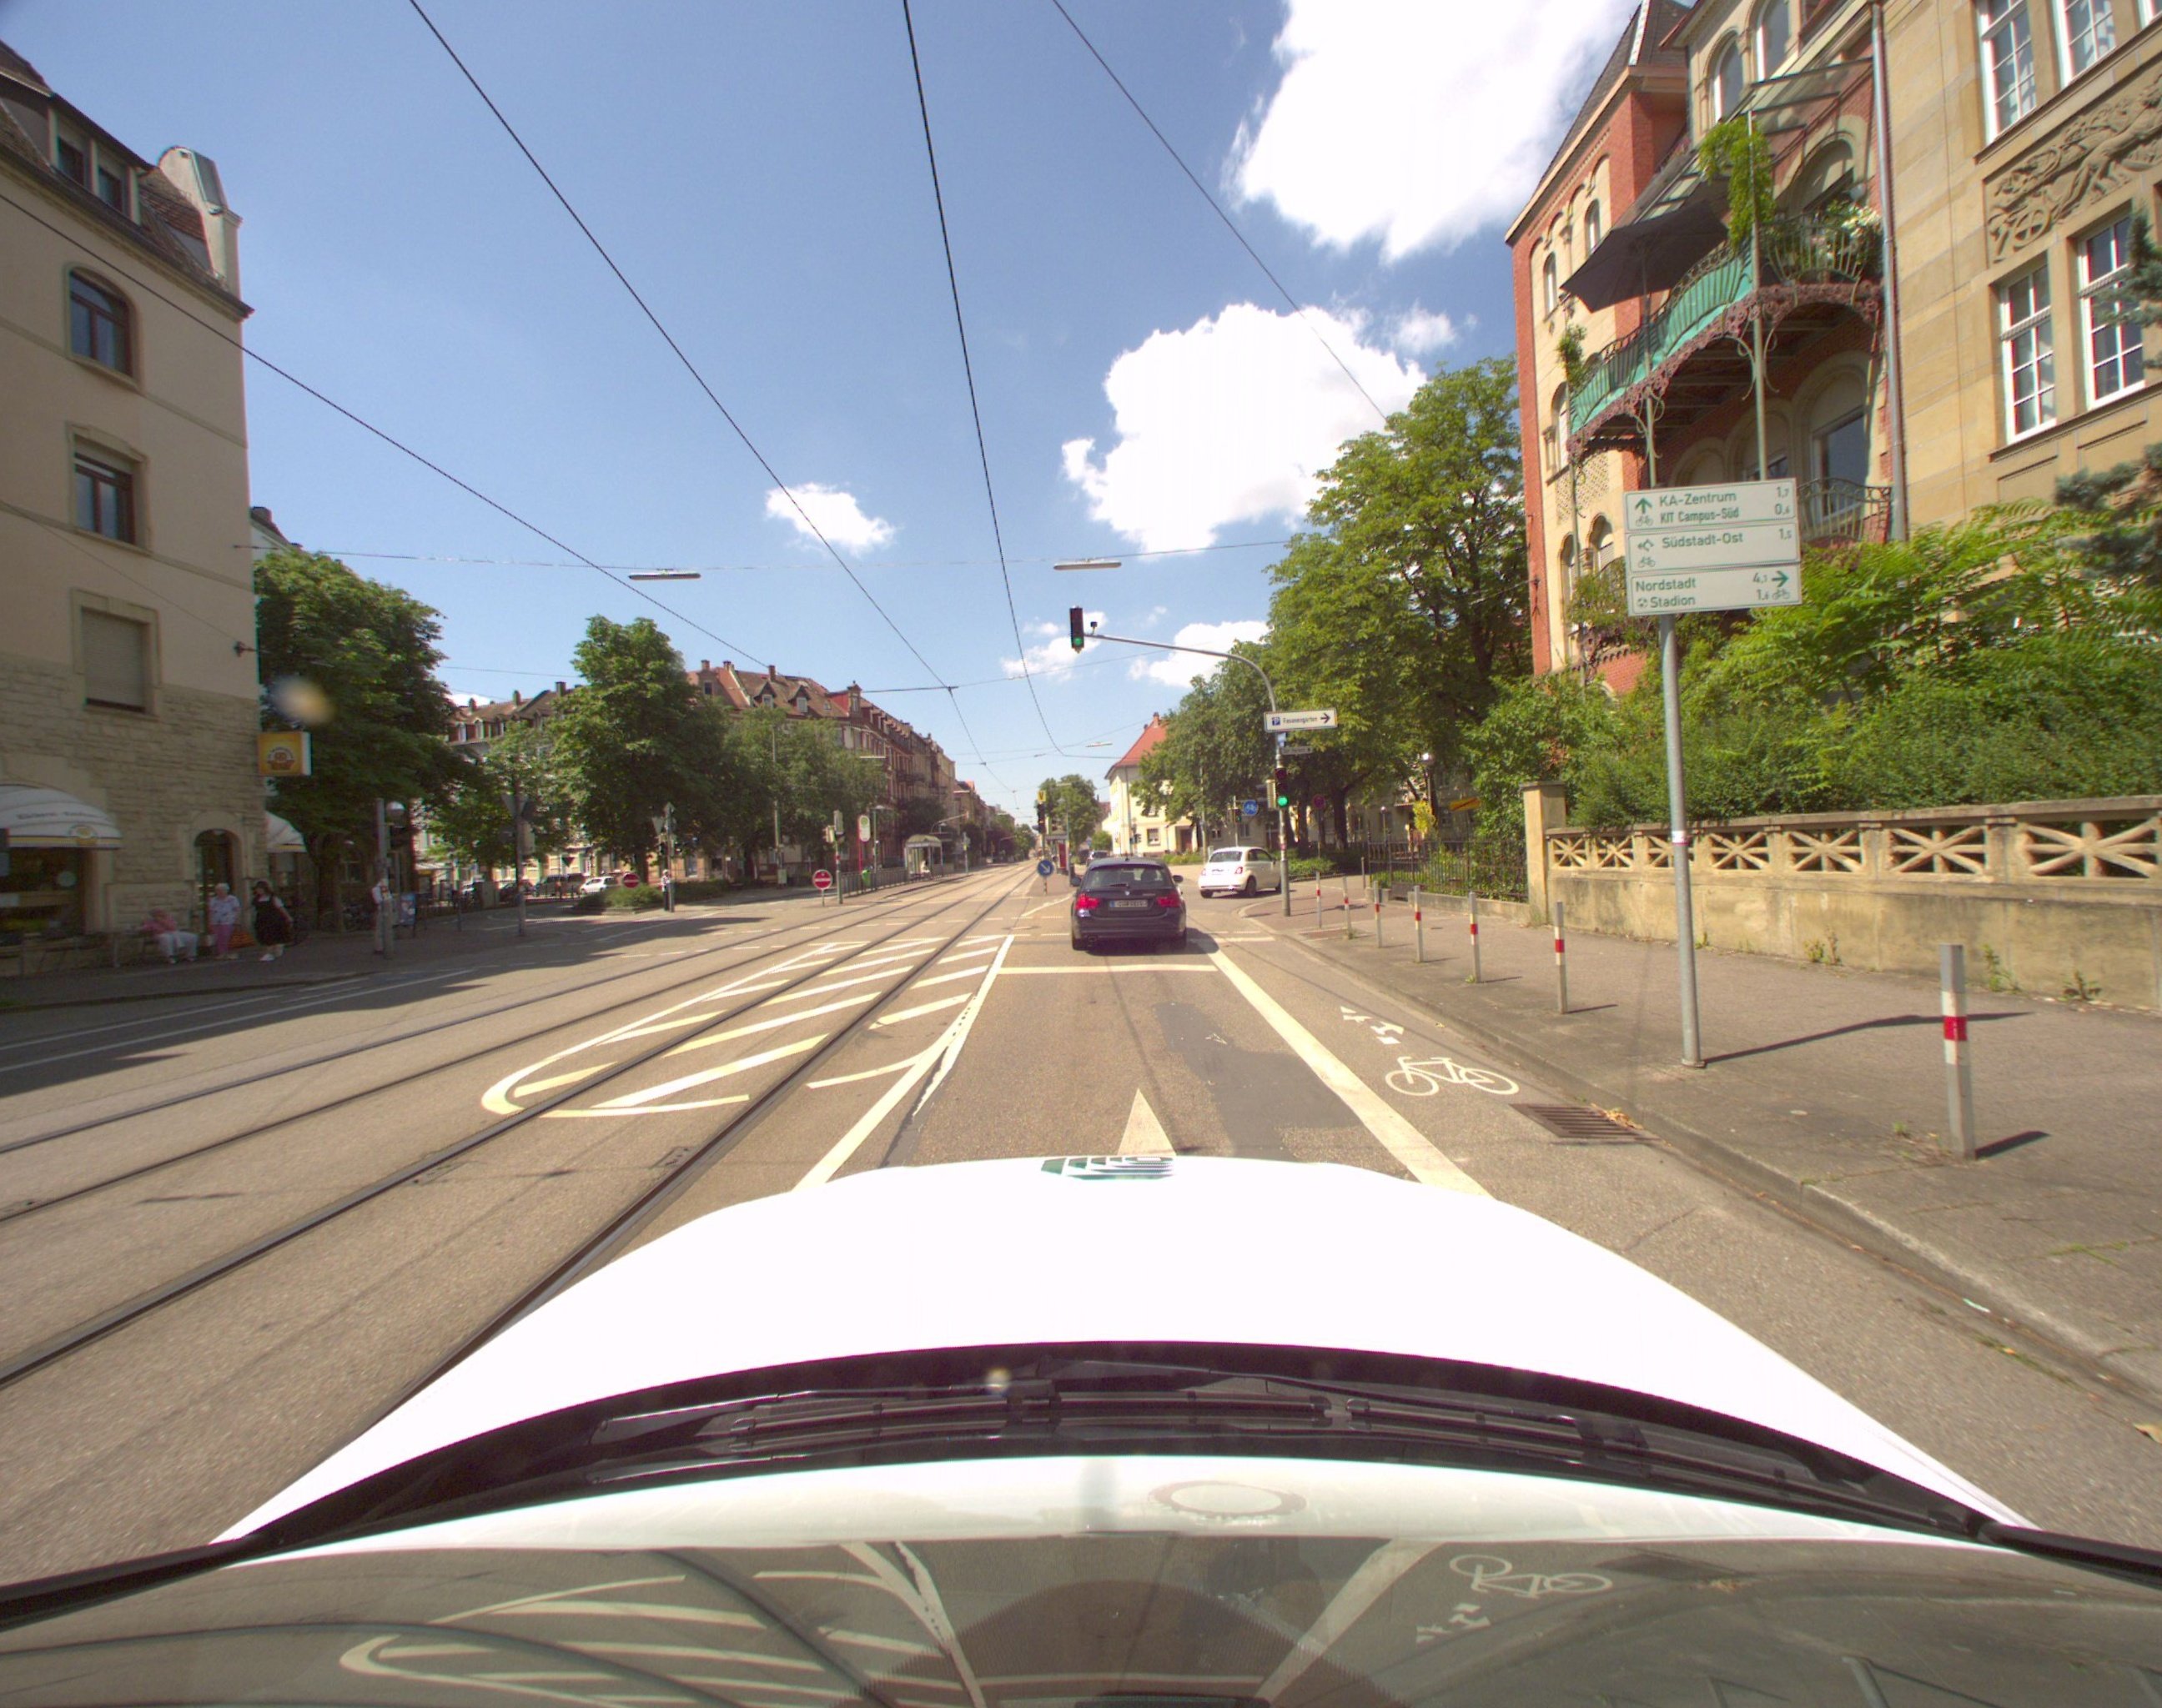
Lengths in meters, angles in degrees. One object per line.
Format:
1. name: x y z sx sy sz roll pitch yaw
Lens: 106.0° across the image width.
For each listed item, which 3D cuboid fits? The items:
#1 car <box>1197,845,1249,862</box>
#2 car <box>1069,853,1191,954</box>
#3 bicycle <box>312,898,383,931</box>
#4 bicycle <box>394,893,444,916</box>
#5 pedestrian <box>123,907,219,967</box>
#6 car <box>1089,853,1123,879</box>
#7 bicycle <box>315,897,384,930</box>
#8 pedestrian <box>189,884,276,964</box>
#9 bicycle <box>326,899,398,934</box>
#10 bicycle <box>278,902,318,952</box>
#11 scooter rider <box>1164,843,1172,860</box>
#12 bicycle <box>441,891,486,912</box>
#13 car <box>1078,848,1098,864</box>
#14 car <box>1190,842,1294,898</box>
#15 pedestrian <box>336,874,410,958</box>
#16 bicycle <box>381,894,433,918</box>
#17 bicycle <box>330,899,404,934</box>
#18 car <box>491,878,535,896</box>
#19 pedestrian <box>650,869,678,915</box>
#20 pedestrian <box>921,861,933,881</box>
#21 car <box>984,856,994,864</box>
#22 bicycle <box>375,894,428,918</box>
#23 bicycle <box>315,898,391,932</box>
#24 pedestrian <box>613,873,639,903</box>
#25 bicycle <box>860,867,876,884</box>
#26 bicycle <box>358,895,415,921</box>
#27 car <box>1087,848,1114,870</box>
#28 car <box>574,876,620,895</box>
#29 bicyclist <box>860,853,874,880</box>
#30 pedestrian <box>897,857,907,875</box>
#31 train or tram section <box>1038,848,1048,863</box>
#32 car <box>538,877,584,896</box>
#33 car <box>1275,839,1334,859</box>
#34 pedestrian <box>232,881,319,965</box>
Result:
1. car: 12.055 -0.014 69.126 3.948 1.243 1.634 -3 0 33
2. car: 0.766 0.706 13.909 1.716 1.409 4.566 -1 0 2
3. bicycle: -26.666 2.184 29.654 1.866 1.032 0.538 -3 0 -42
4. bicycle: -33.363 2.544 41.059 1.859 1.032 0.540 -3 0 -25
5. pedestrian: -18.597 1.684 16.666 0.913 1.077 0.882 -3 0 -1
6. car: 1.349 0.627 45.195 1.686 1.323 3.819 -3 0 -1
7. bicycle: -27.198 2.205 30.291 1.866 1.032 0.538 -3 0 -43
8. pedestrian: -18.037 1.465 17.333 0.805 1.594 0.918 -3 0 -3
9. bicycle: -24.580 2.110 27.876 0.537 1.032 1.743 -3 0 31
10. bicycle: -19.296 1.787 20.086 0.547 1.128 1.663 -3 -2 -39
11. scooter rider: 8.697 -0.272 81.339 0.590 1.687 0.527 -3 0 -7
12. bicycle: -34.626 2.646 45.689 1.859 1.032 0.540 -3 0 -25
13. car: 0.883 0.283 102.499 1.991 1.848 3.992 -3 0 -5
14. car: 5.035 0.463 25.150 1.668 1.484 3.708 -3 0 36
15. pedestrian: -15.270 1.323 17.586 0.857 1.732 0.775 -2 0 0
16. bicycle: -33.117 2.529 40.029 1.859 1.032 0.540 -3 0 -25
17. bicycle: -24.048 2.091 27.461 0.537 1.032 1.743 -3 0 31
18. car: -52.179 3.056 74.803 3.429 1.471 1.694 -3 0 23
19. pedestrian: -16.578 1.497 32.369 0.843 1.723 0.910 -3 0 -32
20. pedestrian: -9.883 1.066 52.257 0.613 1.243 0.626 -3 0 -8
21. car: -19.999 1.295 176.475 1.788 1.586 3.986 -2 -1 -10
22. bicycle: -32.907 2.518 39.445 1.859 1.032 0.540 -3 0 -25
23. bicycle: -25.657 2.148 28.733 0.537 1.032 1.868 -3 0 31
24. pedestrian: -29.835 2.219 53.400 0.992 1.868 1.021 -3 0 14
25. bicycle: -15.087 1.513 57.665 0.727 1.101 1.713 -3 0 -3
26. bicycle: -31.385 2.430 36.829 1.858 1.032 0.540 -3 0 -24
27. car: 1.412 0.365 60.827 1.687 1.514 3.818 -3 0 -2
28. car: -42.427 2.729 71.346 3.429 1.471 1.694 -3 0 23
29. bicyclist: -15.095 0.897 57.521 0.720 1.870 0.825 -3 0 -2
30. pedestrian: -18.580 1.261 84.526 0.632 1.811 0.745 -3 0 31
31. train or tram section: -9.470 0.270 201.174 2.185 3.482 8.838 -3 0 -2
32. car: -46.305 2.854 72.518 3.429 1.471 1.694 -3 0 23
33. car: 17.433 -0.405 63.642 1.799 1.328 4.293 -3 0 -34
34. pedestrian: -16.667 1.398 16.880 0.861 1.635 1.022 -1 -1 -13
